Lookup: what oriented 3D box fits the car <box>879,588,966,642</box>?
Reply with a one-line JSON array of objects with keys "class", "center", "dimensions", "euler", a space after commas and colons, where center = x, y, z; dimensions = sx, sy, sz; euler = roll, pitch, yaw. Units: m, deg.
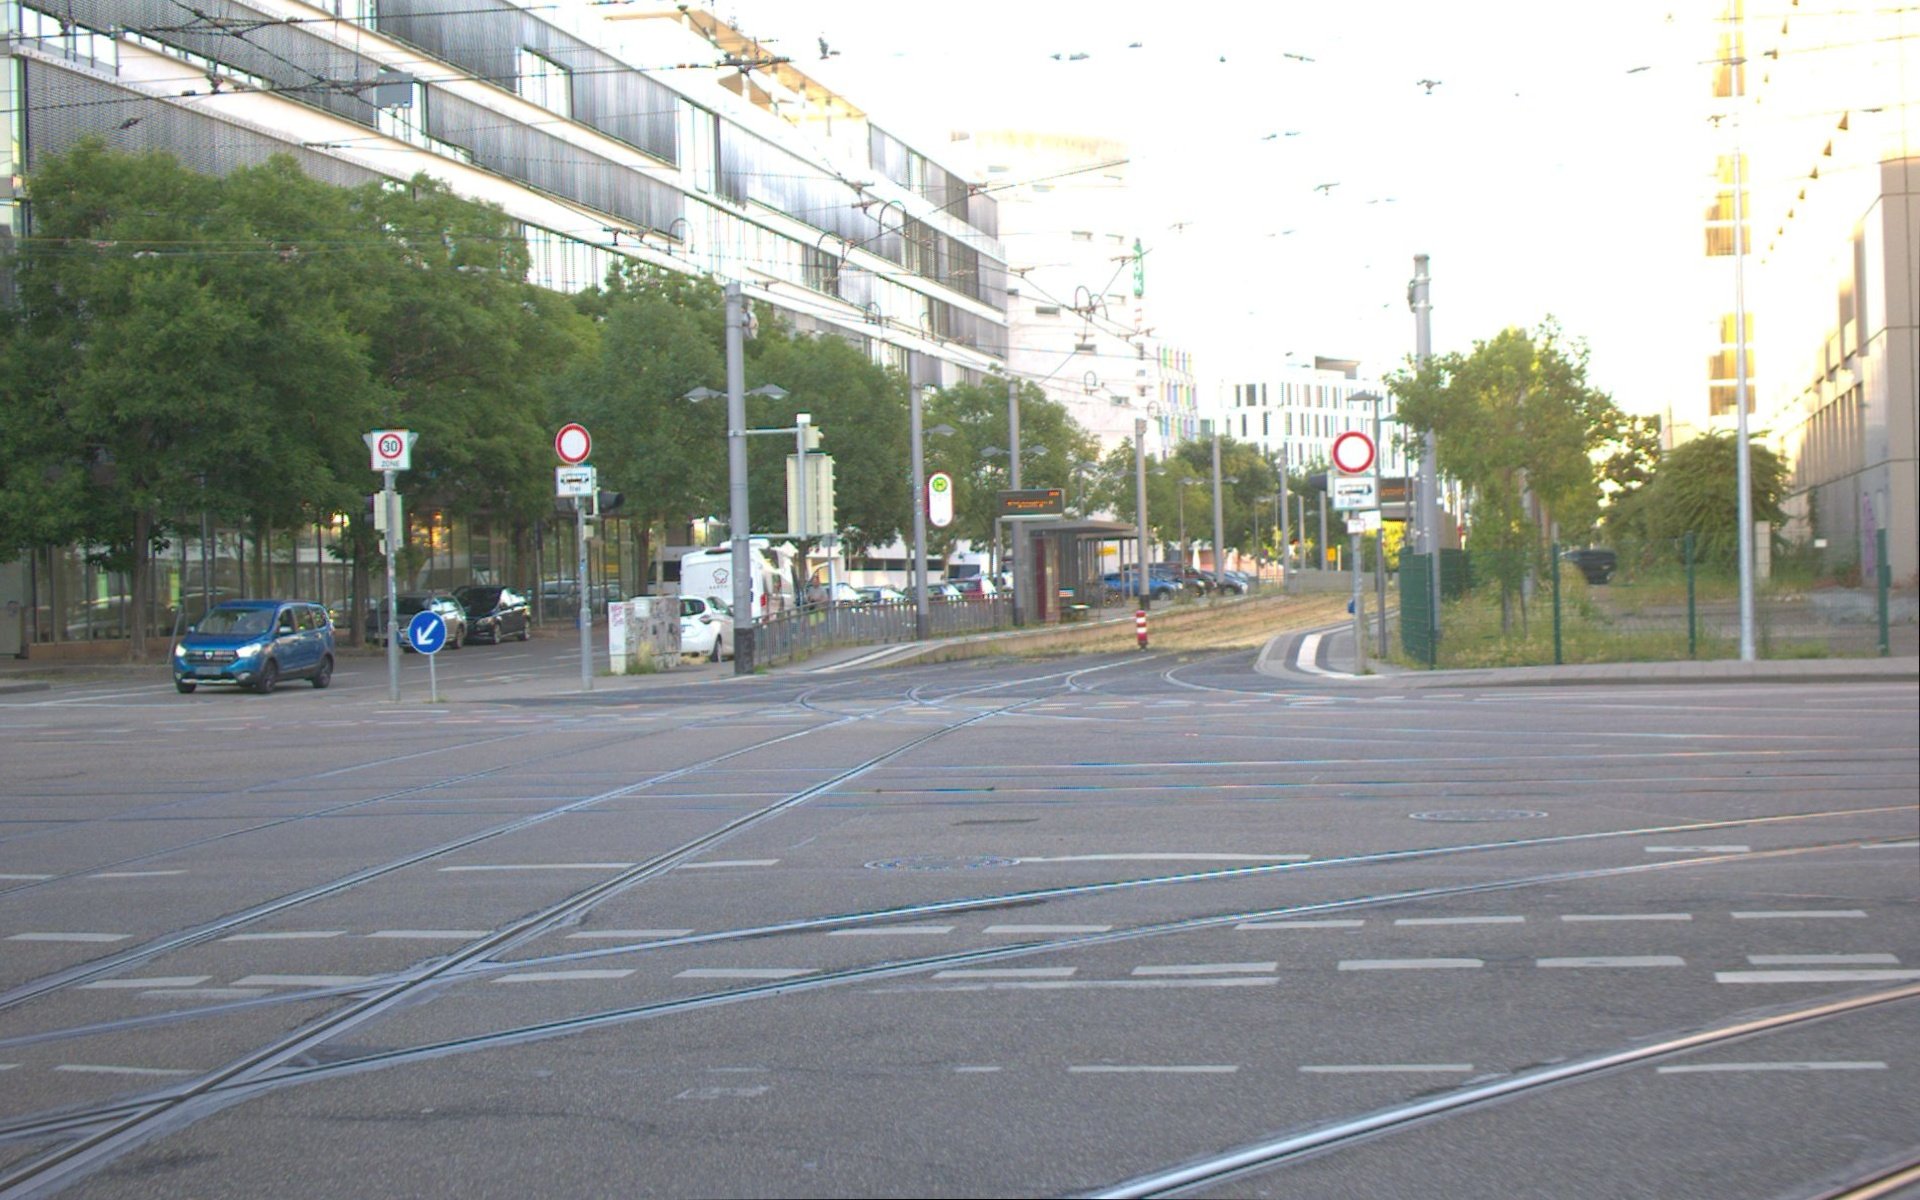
[{"class": "car", "center": [-1.043, 0.406, 97.244], "dimensions": [1.683, 1.434, 4.124], "euler": [-1, 0, 10]}]

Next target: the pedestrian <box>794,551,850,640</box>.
[{"class": "pedestrian", "center": [-3.175, -0.104, 78.996], "dimensions": [1.039, 2.023, 0.984], "euler": [-1, 0, -17]}]

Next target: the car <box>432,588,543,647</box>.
[{"class": "car", "center": [-12.834, 0.464, 93.581], "dimensions": [1.683, 1.496, 4.237], "euler": [-1, 0, 11]}]

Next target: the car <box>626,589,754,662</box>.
[{"class": "car", "center": [-5.659, 0.515, 72.498], "dimensions": [1.683, 1.434, 4.124], "euler": [-1, 0, 10]}]

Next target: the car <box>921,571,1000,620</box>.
[{"class": "car", "center": [0.043, -0.153, 105.210], "dimensions": [1.683, 1.434, 4.124], "euler": [-1, 0, 10]}]

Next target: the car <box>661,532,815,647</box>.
[{"class": "car", "center": [-4.995, -0.261, 78.307], "dimensions": [2.461, 2.474, 5.807], "euler": [-1, 0, 6]}]

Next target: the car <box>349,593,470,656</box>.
[{"class": "car", "center": [-14.012, 0.614, 87.674], "dimensions": [1.683, 1.496, 4.237], "euler": [-1, 0, 11]}]

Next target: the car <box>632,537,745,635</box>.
[{"class": "car", "center": [-9.065, -0.489, 115.374], "dimensions": [2.202, 3.141, 6.140], "euler": [-1, 0, 11]}]

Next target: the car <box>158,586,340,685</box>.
[{"class": "car", "center": [-12.977, 0.619, 62.986], "dimensions": [1.683, 1.694, 4.237], "euler": [-1, 0, 12]}]
